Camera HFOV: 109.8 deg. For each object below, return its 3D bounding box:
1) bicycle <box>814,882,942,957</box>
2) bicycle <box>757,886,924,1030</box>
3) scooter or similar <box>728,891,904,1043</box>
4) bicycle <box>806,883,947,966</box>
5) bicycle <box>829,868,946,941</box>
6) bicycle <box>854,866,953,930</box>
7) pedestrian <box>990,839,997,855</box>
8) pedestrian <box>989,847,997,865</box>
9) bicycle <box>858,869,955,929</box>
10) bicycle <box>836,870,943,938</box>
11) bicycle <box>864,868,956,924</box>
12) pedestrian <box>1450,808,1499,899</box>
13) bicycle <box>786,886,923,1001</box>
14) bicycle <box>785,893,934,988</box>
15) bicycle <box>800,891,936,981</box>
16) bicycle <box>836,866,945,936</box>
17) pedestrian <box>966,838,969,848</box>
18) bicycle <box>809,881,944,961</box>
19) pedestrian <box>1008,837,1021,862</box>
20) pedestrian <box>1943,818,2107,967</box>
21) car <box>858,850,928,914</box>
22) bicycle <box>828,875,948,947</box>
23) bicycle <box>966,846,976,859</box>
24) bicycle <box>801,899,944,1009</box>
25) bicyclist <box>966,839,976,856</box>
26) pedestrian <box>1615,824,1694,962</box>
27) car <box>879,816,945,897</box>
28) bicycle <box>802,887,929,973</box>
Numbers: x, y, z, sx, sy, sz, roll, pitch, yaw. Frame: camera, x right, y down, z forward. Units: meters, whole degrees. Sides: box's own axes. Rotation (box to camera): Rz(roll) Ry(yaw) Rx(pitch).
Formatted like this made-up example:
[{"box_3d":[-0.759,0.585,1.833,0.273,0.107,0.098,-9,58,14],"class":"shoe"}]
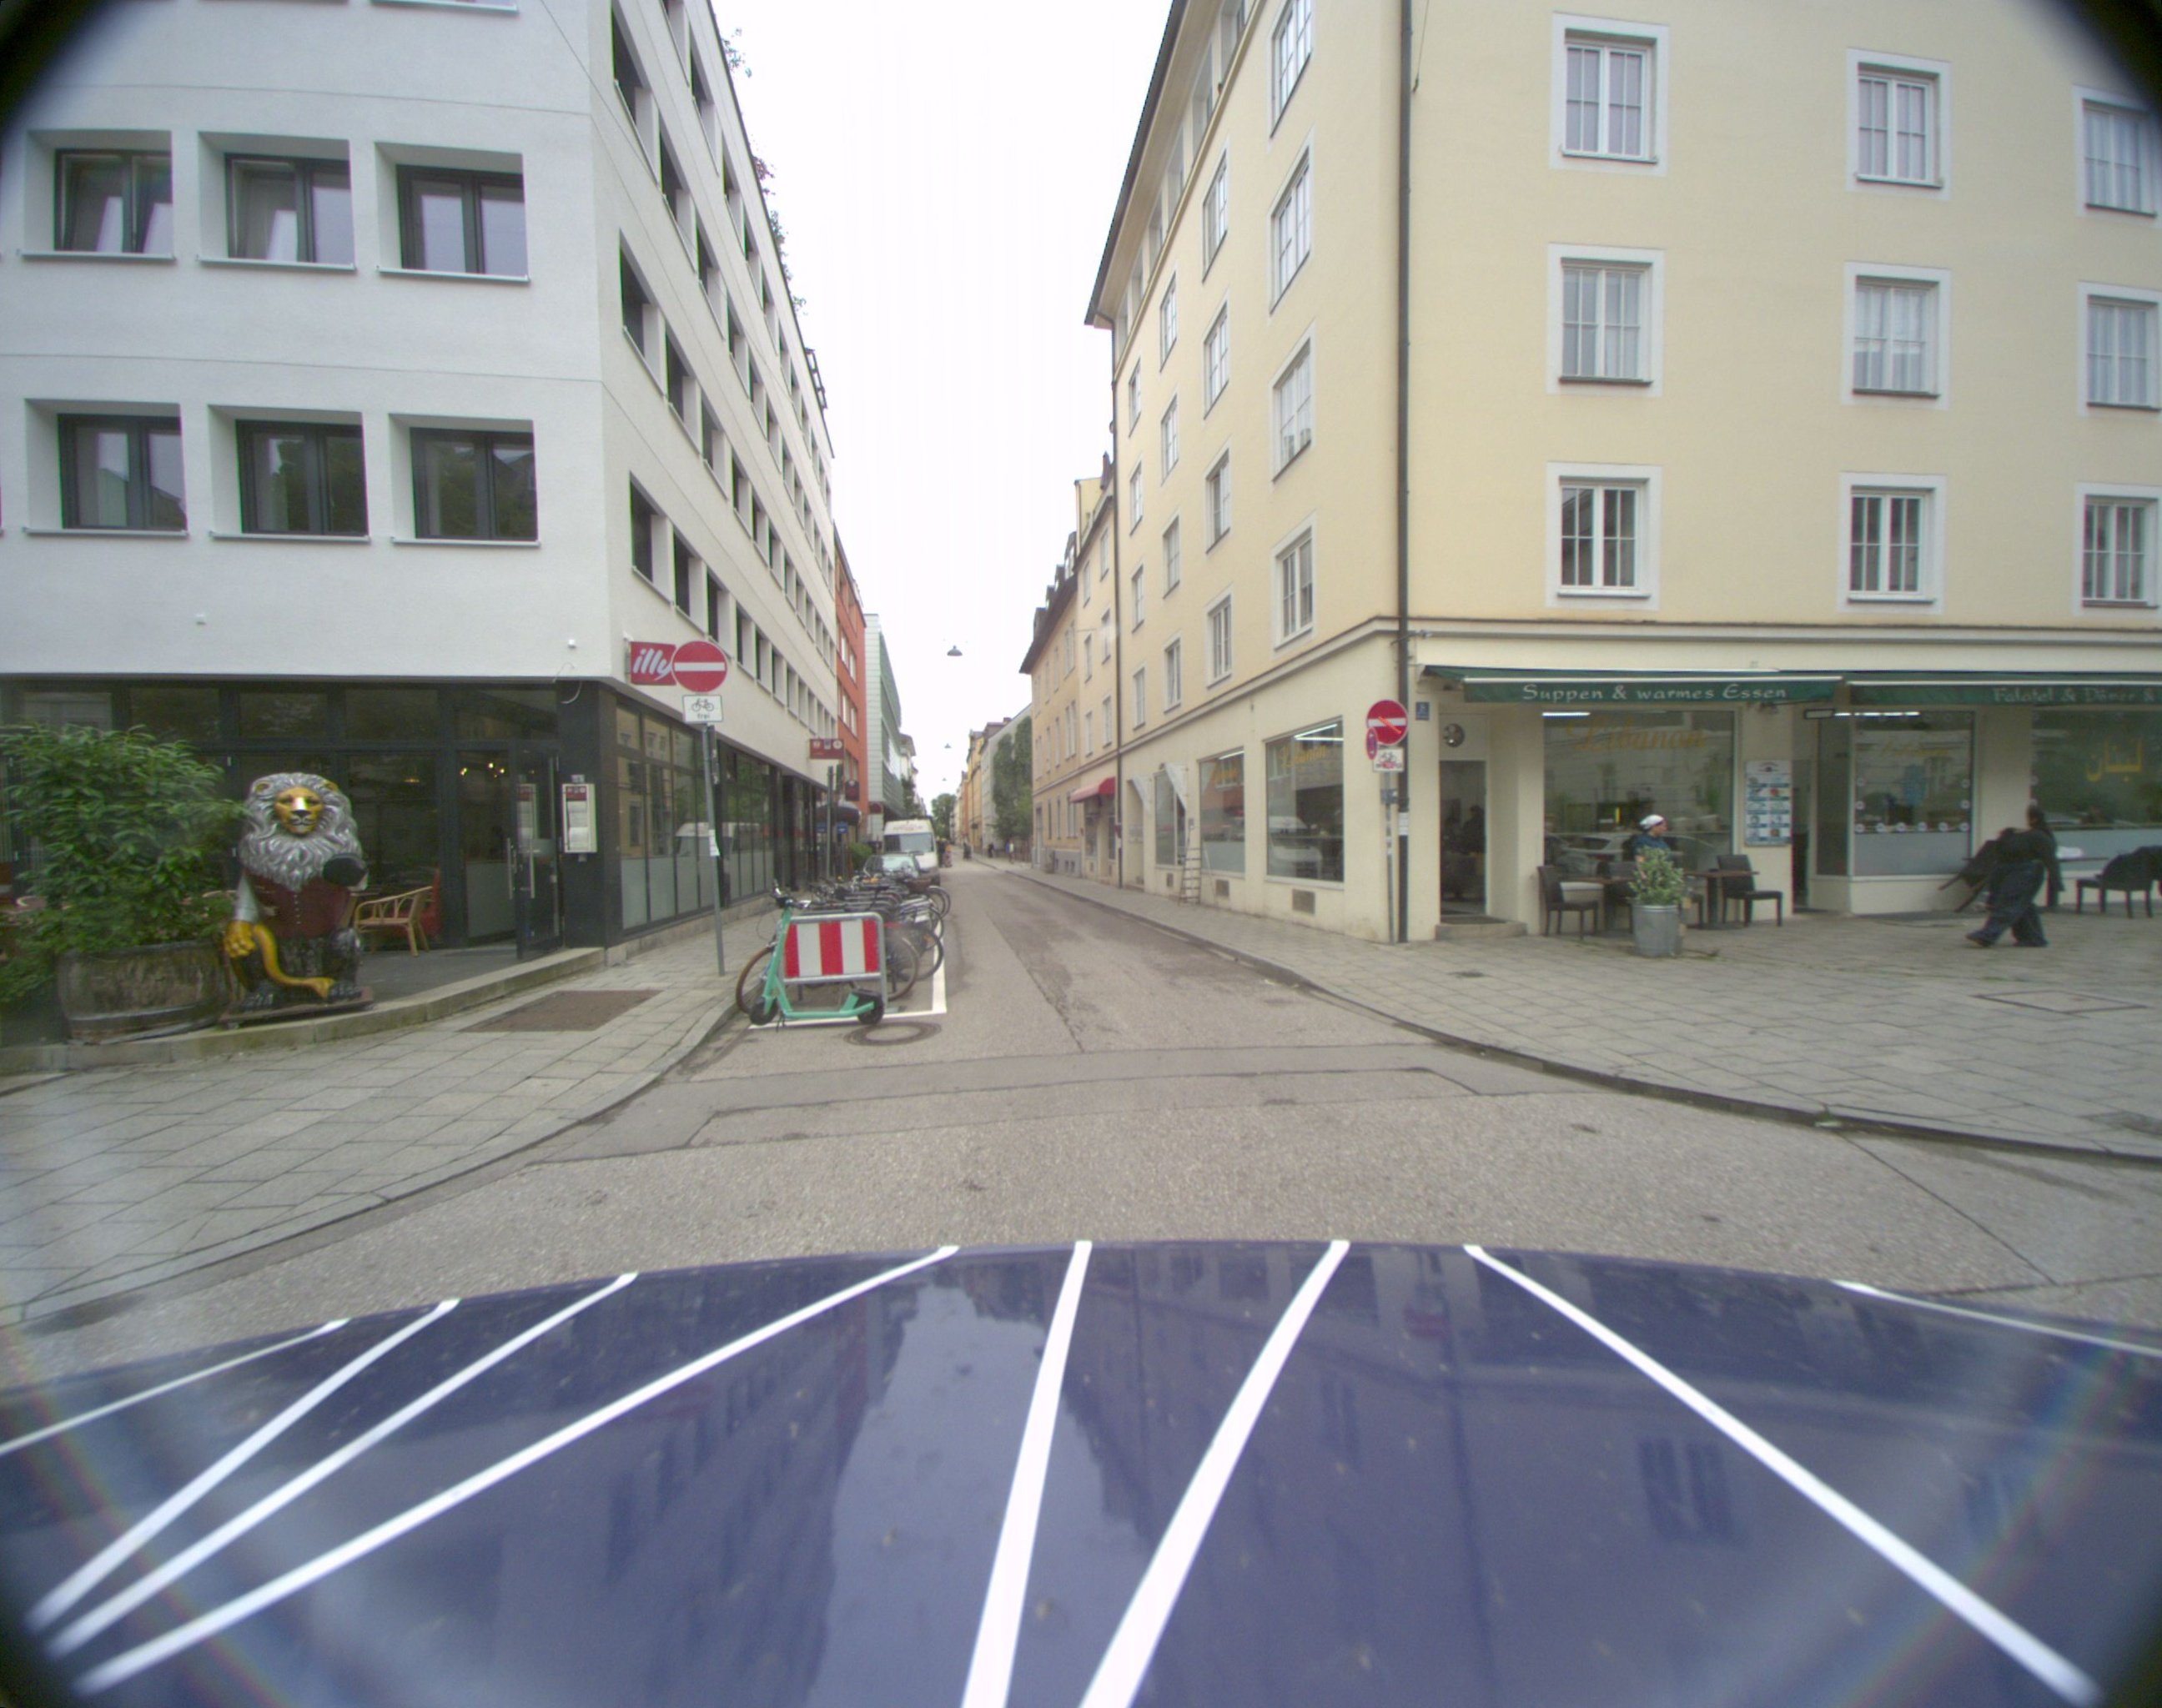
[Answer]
[{"box_3d":[-3.178,1.014,11.995,1.880,1.046,0.563,-1,3,-14],"class":"bicycle"},{"box_3d":[-2.323,0.994,7.458,1.461,1.278,0.445,-2,2,-9],"class":"bicycle"},{"box_3d":[-2.282,0.964,6.655,1.357,1.203,0.417,-2,2,-9],"class":"scooter or similar"},{"box_3d":[-2.902,0.989,10.890,1.880,1.073,0.408,-1,1,-14],"class":"bicycle"},{"box_3d":[-3.344,0.859,13.226,1.900,1.163,0.565,-1,2,-13],"class":"bicycle"},{"box_3d":[-3.543,0.873,15.264,1.880,1.197,0.488,-1,1,-12],"class":"bicycle"},{"box_3d":[-9.080,-0.690,78.683,0.554,1.650,0.996,-2,2,-11],"class":"pedestrian"},{"box_3d":[-9.409,0.204,81.482,0.778,1.826,0.990,-2,2,-11],"class":"pedestrian"},{"box_3d":[-3.607,0.916,15.782,1.880,1.102,0.488,-3,1,-12],"class":"bicycle"},{"box_3d":[-3.642,0.929,14.555,1.880,1.150,0.564,-3,1,-12],"class":"bicycle"},{"box_3d":[-3.761,0.911,16.783,1.880,1.073,0.488,-4,1,-12],"class":"bicycle"},{"box_3d":[7.652,-0.016,14.812,0.757,1.715,0.770,1,2,22],"class":"pedestrian"},{"box_3d":[-2.634,1.015,8.886,1.457,1.201,0.395,-2,2,-18],"class":"bicycle"},{"box_3d":[-2.784,1.078,9.656,1.746,1.073,0.451,-1,1,-13],"class":"bicycle"},{"box_3d":[-2.802,1.067,10.073,1.680,1.073,0.335,-1,1,-14],"class":"bicycle"},{"box_3d":[-3.446,0.842,13.845,1.880,1.197,0.579,0,2,-12],"class":"bicycle"},{"box_3d":[-19.853,-1.902,133.106,0.493,1.814,0.552,-1,2,-11],"class":"pedestrian"},{"box_3d":[-3.016,0.971,11.315,1.880,1.073,0.402,-1,1,-14],"class":"bicycle"},{"box_3d":[-5.017,-0.331,57.171,0.861,1.834,0.973,-2,2,-9],"class":"pedestrian"},{"box_3d":[10.386,0.390,8.392,0.852,1.543,0.748,-2,4,-8],"class":"pedestrian"},{"box_3d":[-4.893,0.658,20.153,1.586,1.456,3.547,-1,1,-11],"class":"car"},{"box_3d":[-3.209,0.929,12.701,1.880,1.089,0.439,-1,1,-14],"class":"bicycle"},{"box_3d":[-11.076,-0.123,76.240,0.935,1.250,2.411,0,2,-10],"class":"bicycle"},{"box_3d":[-2.316,1.083,8.486,1.457,1.063,0.462,-2,2,-18],"class":"bicycle"},{"box_3d":[-10.989,-0.674,75.719,0.929,1.711,1.098,0,1,-10],"class":"bicyclist"},{"box_3d":[7.088,0.455,9.402,0.606,1.633,0.537,-2,2,-22],"class":"pedestrian"},{"box_3d":[-5.917,0.026,27.038,1.927,2.492,5.990,-3,1,-11],"class":"car"},{"box_3d":[-2.940,1.021,10.438,1.618,1.073,0.377,-1,1,-14],"class":"bicycle"}]
